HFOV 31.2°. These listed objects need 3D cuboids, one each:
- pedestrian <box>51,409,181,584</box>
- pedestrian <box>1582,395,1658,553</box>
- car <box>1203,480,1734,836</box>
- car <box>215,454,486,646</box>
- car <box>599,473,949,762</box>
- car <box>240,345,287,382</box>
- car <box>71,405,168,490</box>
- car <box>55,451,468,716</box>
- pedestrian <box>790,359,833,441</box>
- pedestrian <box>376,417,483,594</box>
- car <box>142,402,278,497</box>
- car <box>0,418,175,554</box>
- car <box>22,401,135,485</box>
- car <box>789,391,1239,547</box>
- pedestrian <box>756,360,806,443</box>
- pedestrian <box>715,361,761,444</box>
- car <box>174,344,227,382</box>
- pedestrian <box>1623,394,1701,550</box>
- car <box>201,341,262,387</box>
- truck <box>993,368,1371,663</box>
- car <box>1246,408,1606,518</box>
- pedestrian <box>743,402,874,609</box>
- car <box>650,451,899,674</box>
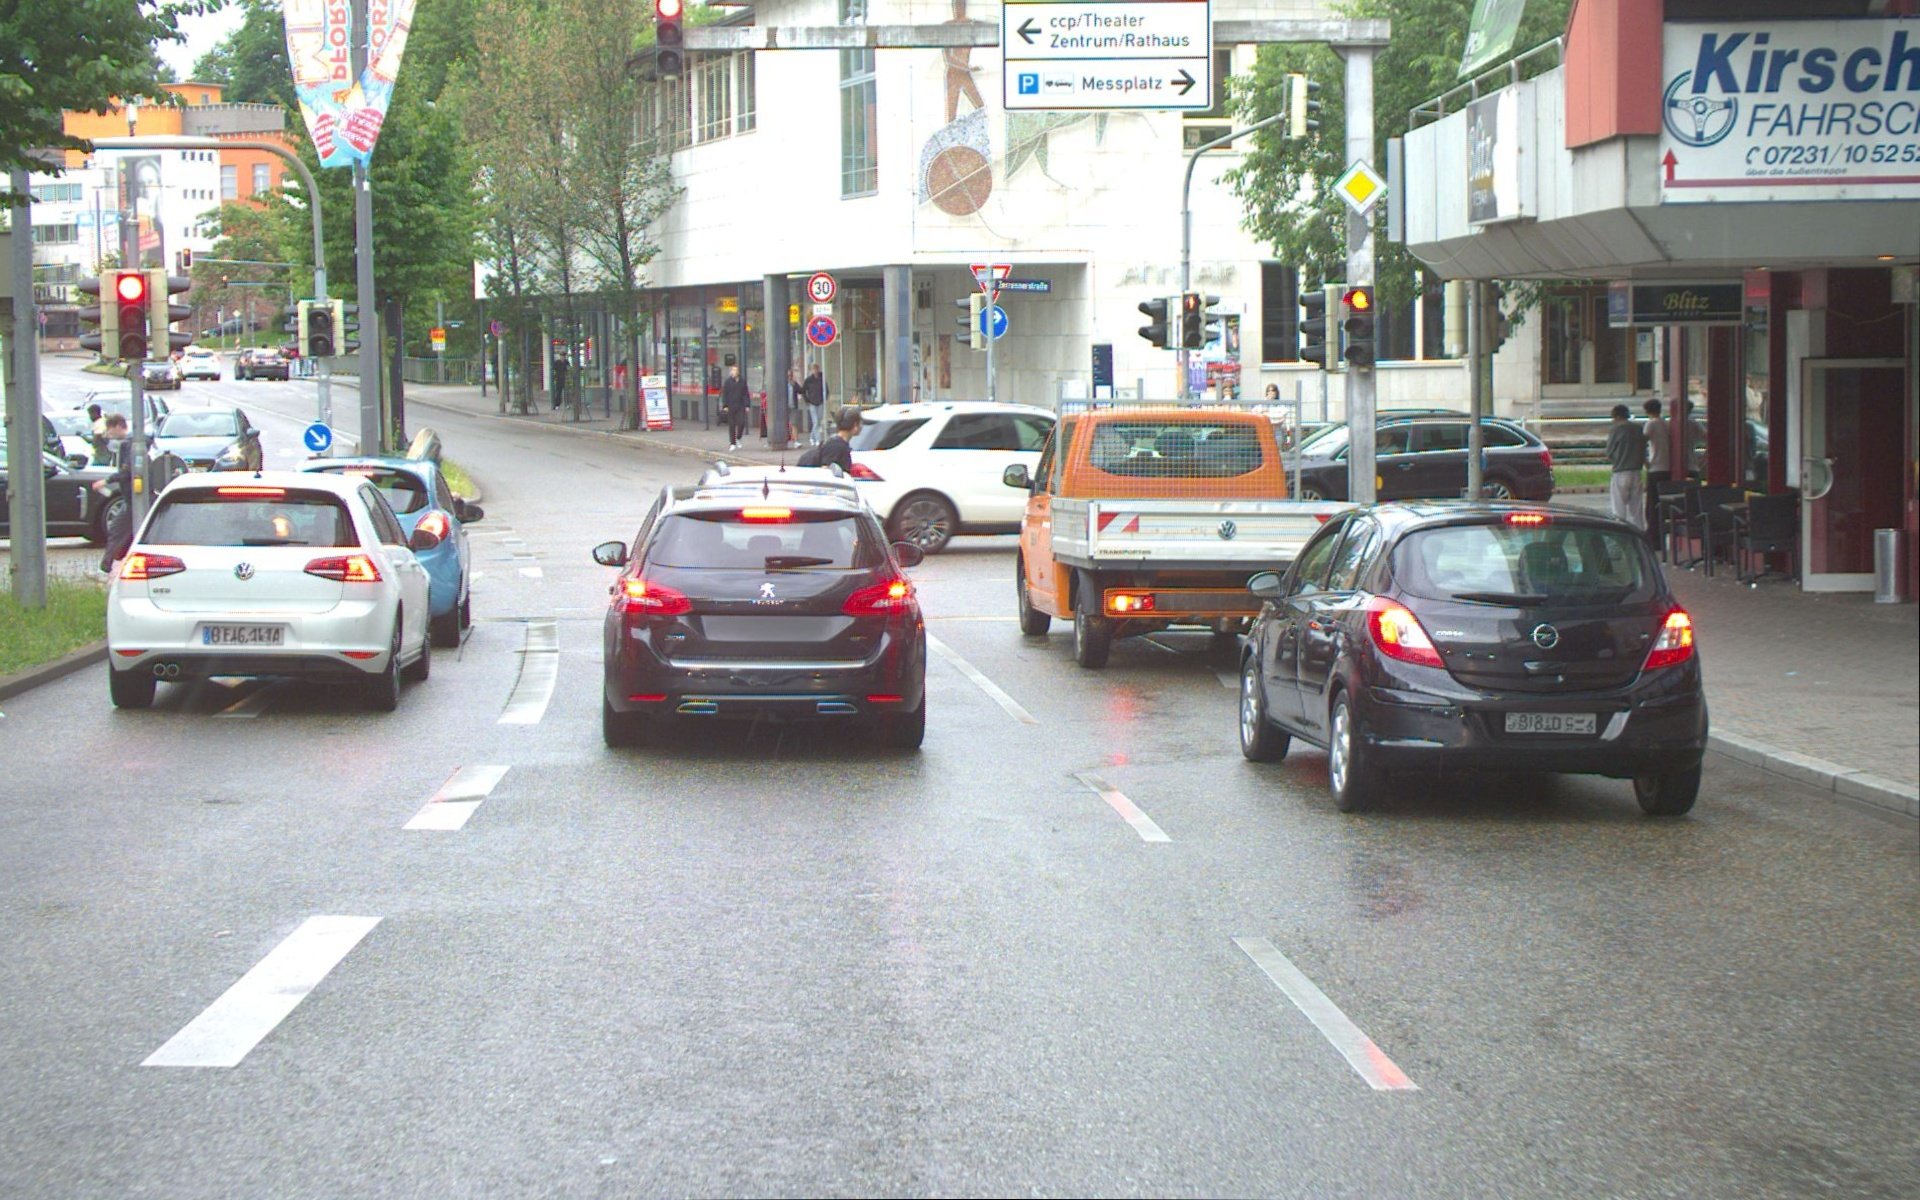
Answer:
[{"bbox_3d":[-8.501,-1.043,34.668,1.010,1.716,0.838,-1,2,3],"label":"pedestrian"},{"bbox_3d":[7.198,-1.374,37.521,0.575,1.694,0.651,-2,2,-11],"label":"pedestrian"},{"bbox_3d":[2.403,0.190,17.288,1.950,1.568,4.001,0,2,-2],"label":"car"},{"bbox_3d":[-4.915,-0.466,28.192,1.794,1.463,4.001,0,2,-4],"label":"car"},{"bbox_3d":[-1.164,0.023,20.040,1.811,1.436,4.001,1,3,-5],"label":"car"},{"bbox_3d":[-31.795,-10.777,156.930,1.831,1.583,3.875,-1,2,-16],"label":"car"},{"bbox_3d":[-17.491,-3.159,71.684,1.705,1.714,4.001,-1,2,-10],"label":"car"},{"bbox_3d":[-4.425,-0.172,22.381,1.950,1.568,4.001,0,2,-1],"label":"car"},{"bbox_3d":[-3.326,-4.476,77.043,0.702,1.796,0.939,-2,2,-16],"label":"pedestrian"},{"bbox_3d":[-5.276,-0.945,34.223,0.835,1.716,0.818,-1,2,5],"label":"pedestrian"},{"bbox_3d":[-12.700,-2.540,58.404,1.820,1.543,4.001,-1,2,-6],"label":"car"},{"bbox_3d":[-12.282,-1.432,42.702,4.681,1.638,1.787,0,2,-23],"label":"car"},{"bbox_3d":[-16.628,-2.953,64.991,1.777,1.543,4.001,-1,2,-10],"label":"car"},{"bbox_3d":[0.627,-1.564,41.531,5.070,1.753,2.001,1,2,-13],"label":"car"},{"bbox_3d":[-3.983,-4.428,76.615,0.846,1.796,1.056,-2,2,-16],"label":"pedestrian"},{"bbox_3d":[-4.981,-4.421,77.007,0.798,1.796,0.918,-2,2,-16],"label":"pedestrian"},{"bbox_3d":[-34.327,-10.711,155.394,1.993,1.590,4.002,-1,2,-17],"label":"car"},{"bbox_3d":[7.762,-1.412,38.047,0.575,1.694,0.651,-2,2,-15],"label":"pedestrian"},{"bbox_3d":[-34.702,-11.228,163.760,1.993,2.006,4.001,-1,2,-24],"label":"car"},{"bbox_3d":[1.601,-0.703,27.097,2.183,2.075,5.605,0,2,-5],"label":"truck"},{"bbox_3d":[6.287,-1.849,46.550,4.396,1.431,2.001,-1,2,-14],"label":"car"},{"bbox_3d":[-1.401,-0.881,32.012,1.063,1.875,0.838,-1,2,5],"label":"pedestrian"},{"bbox_3d":[-1.460,-0.351,26.351,1.760,1.537,4.001,0,3,-4],"label":"car"}]
